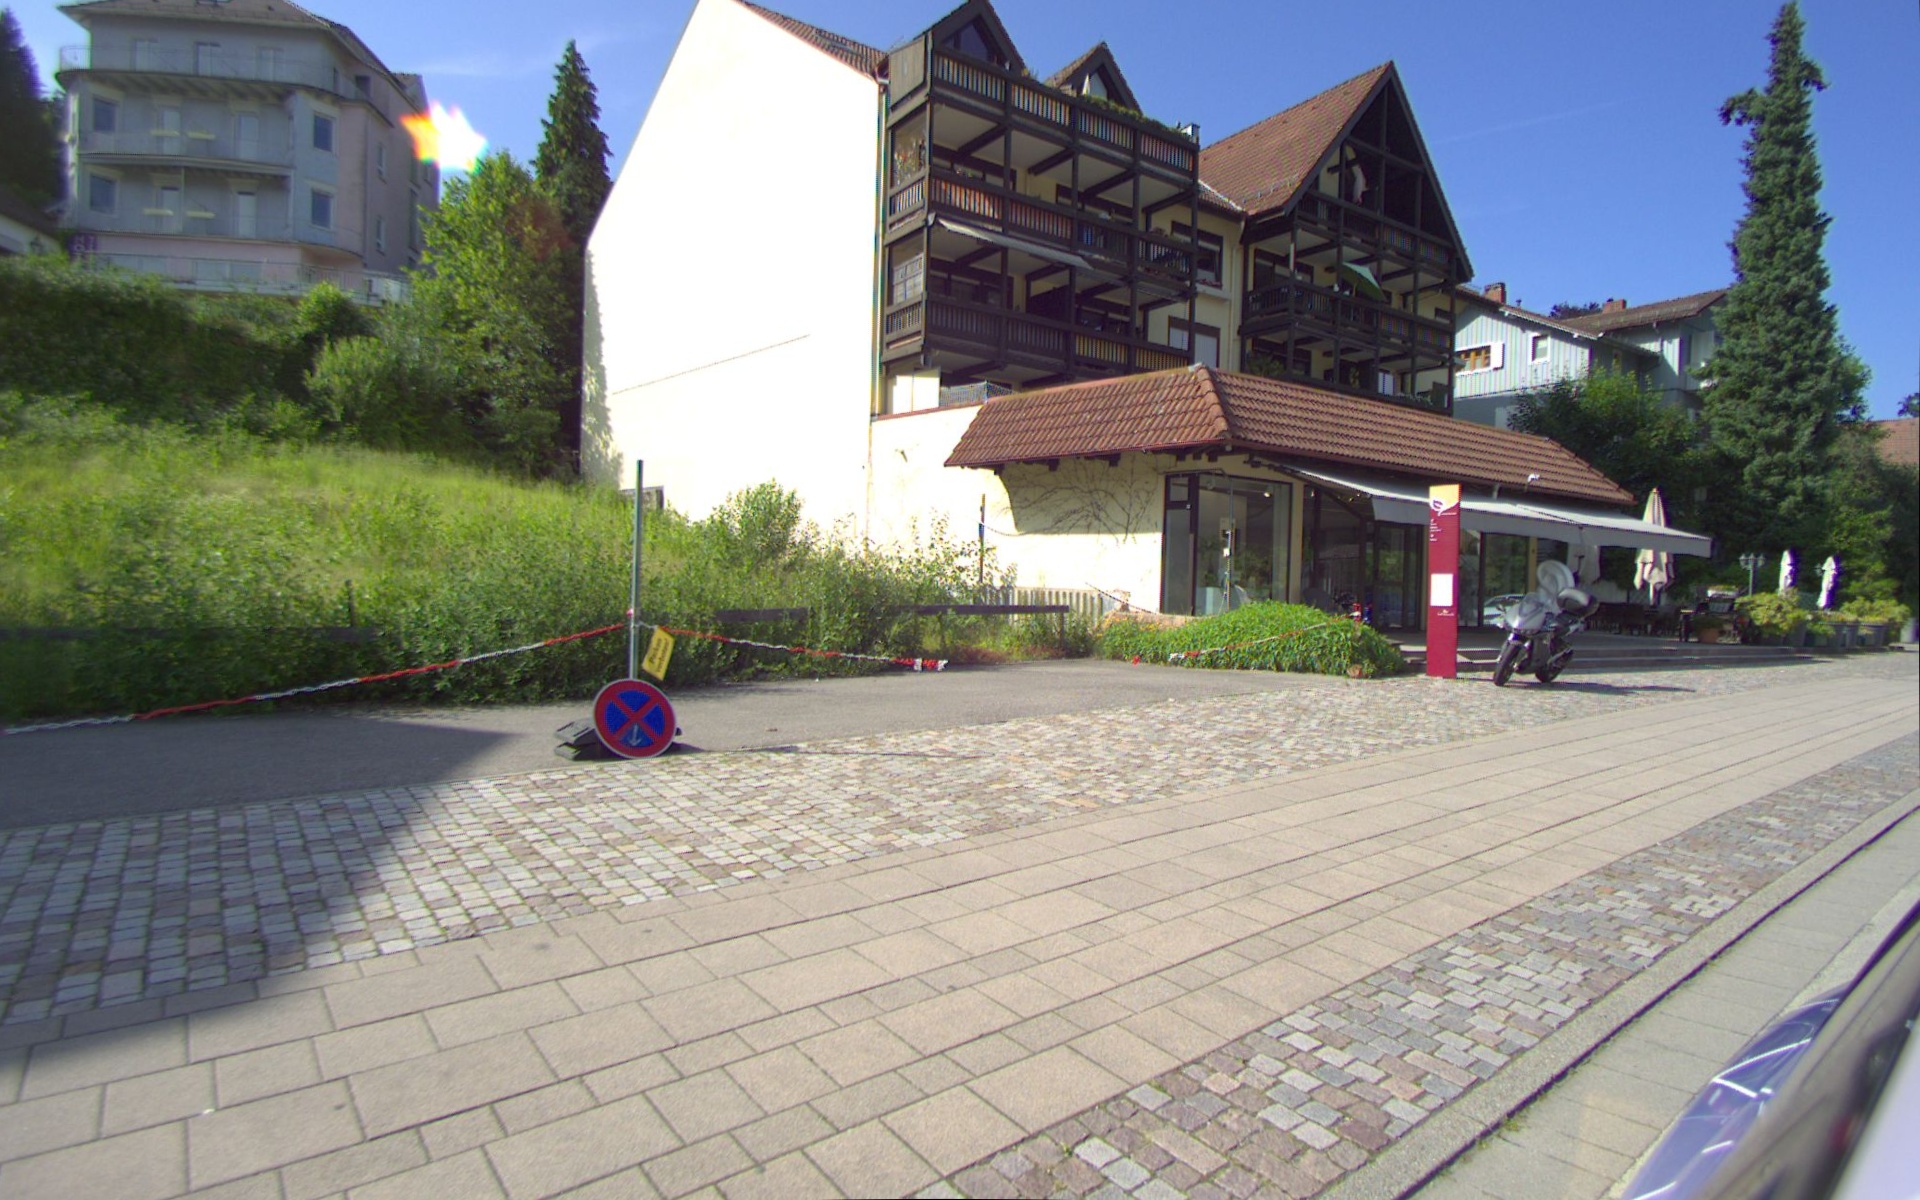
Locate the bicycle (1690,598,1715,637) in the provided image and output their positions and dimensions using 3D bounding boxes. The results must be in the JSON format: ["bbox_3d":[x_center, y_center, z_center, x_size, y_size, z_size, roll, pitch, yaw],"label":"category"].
[{"bbox_3d":[17.825,0.410,24.298,0.395,0.852,1.597,2,2,34],"label":"bicycle"}]

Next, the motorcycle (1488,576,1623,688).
[{"bbox_3d":[7.794,0.389,13.195,2.172,1.312,0.699,1,4,-38],"label":"motorcycle"}]

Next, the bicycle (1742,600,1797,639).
[{"bbox_3d":[18.805,0.462,23.515,1.583,0.874,0.398,1,1,-29],"label":"bicycle"}]
